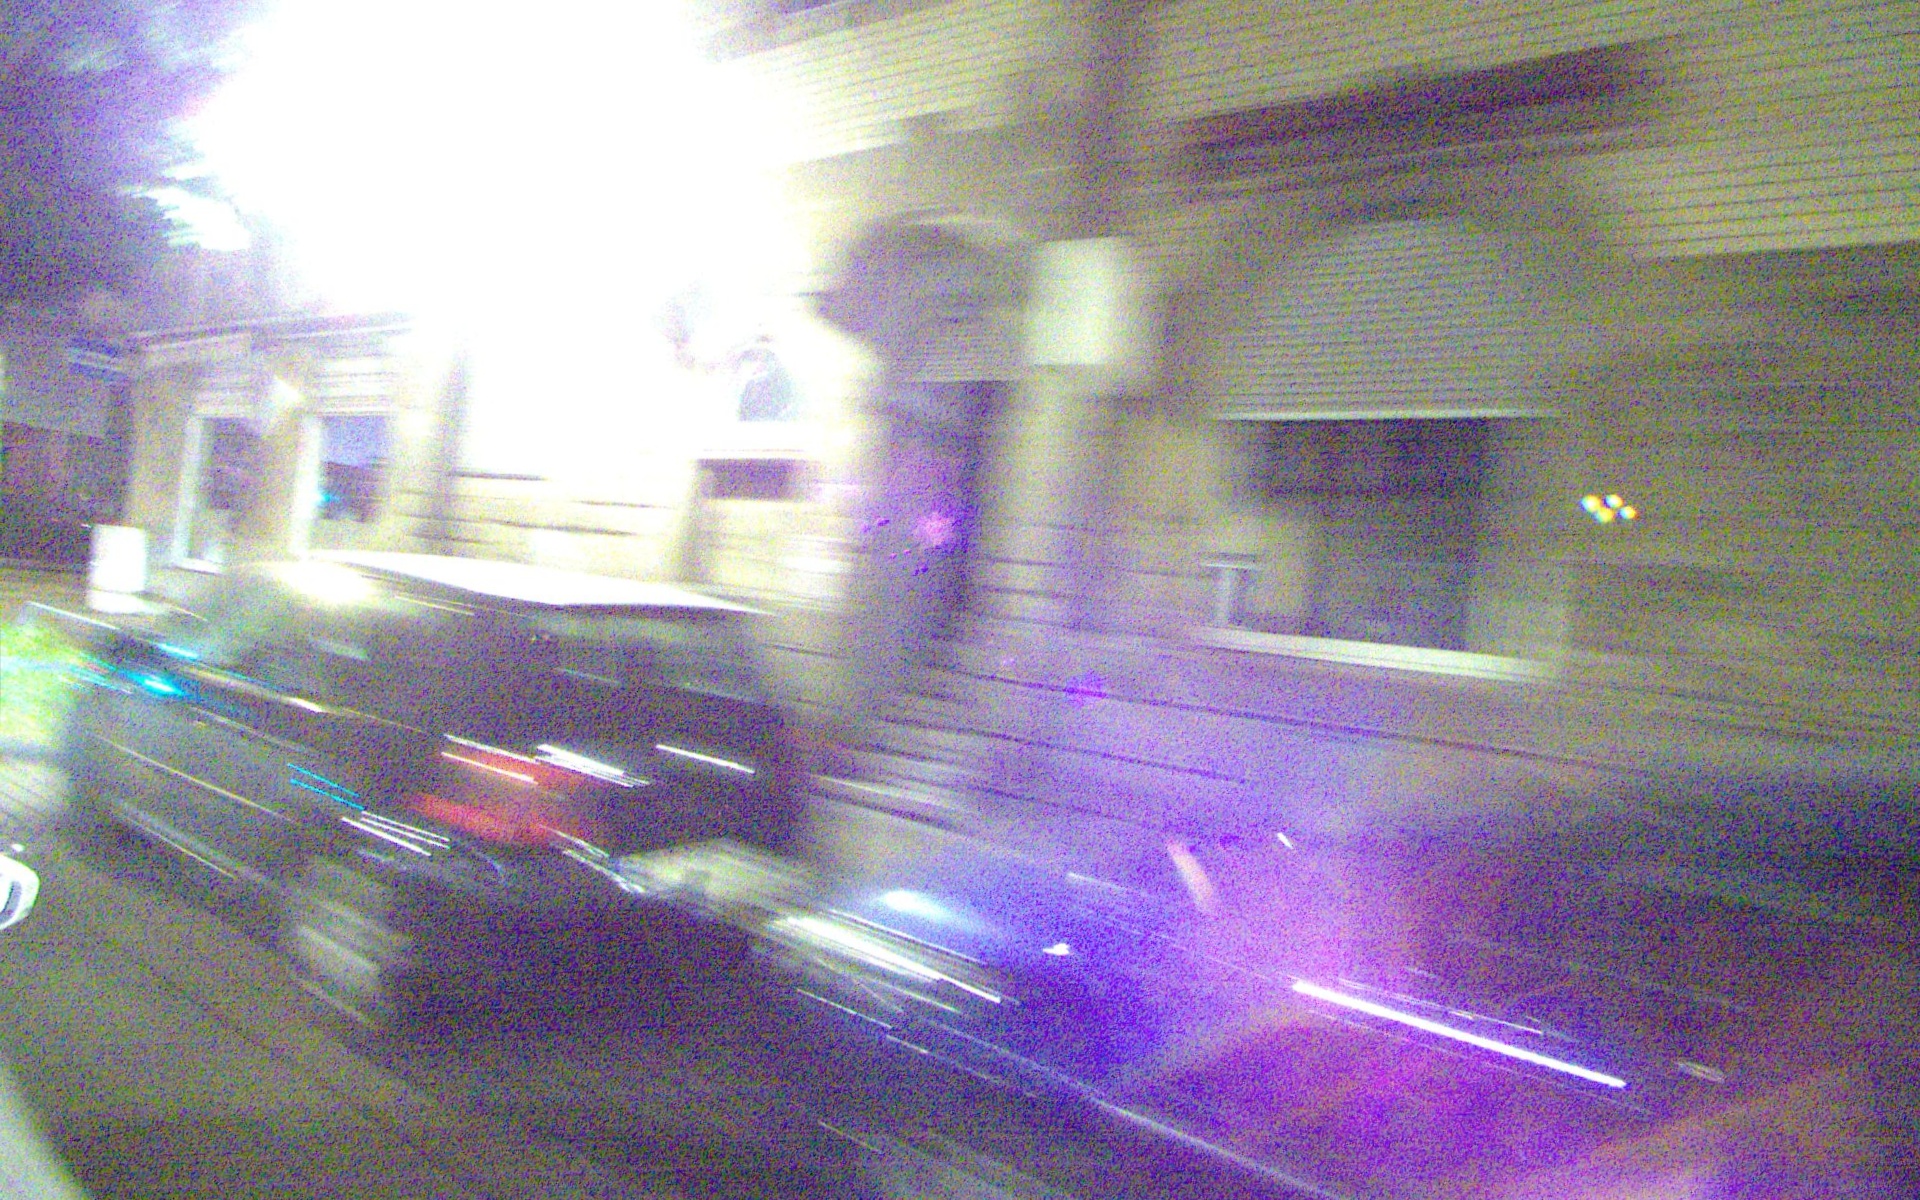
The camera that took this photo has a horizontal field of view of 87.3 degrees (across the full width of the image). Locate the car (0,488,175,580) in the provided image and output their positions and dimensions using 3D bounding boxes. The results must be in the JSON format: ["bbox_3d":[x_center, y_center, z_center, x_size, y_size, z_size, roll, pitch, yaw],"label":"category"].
[{"bbox_3d":[-18.093,-1.353,19.536,1.821,1.439,4.023,5,-2,29],"label":"car"}]

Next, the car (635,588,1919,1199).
[{"bbox_3d":[1.664,1.011,1.875,4.391,1.519,1.736,6,-1,30],"label":"car"}]

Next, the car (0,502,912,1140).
[{"bbox_3d":[-2.377,0.534,4.374,3.935,1.471,1.738,7,-1,33],"label":"car"}]
